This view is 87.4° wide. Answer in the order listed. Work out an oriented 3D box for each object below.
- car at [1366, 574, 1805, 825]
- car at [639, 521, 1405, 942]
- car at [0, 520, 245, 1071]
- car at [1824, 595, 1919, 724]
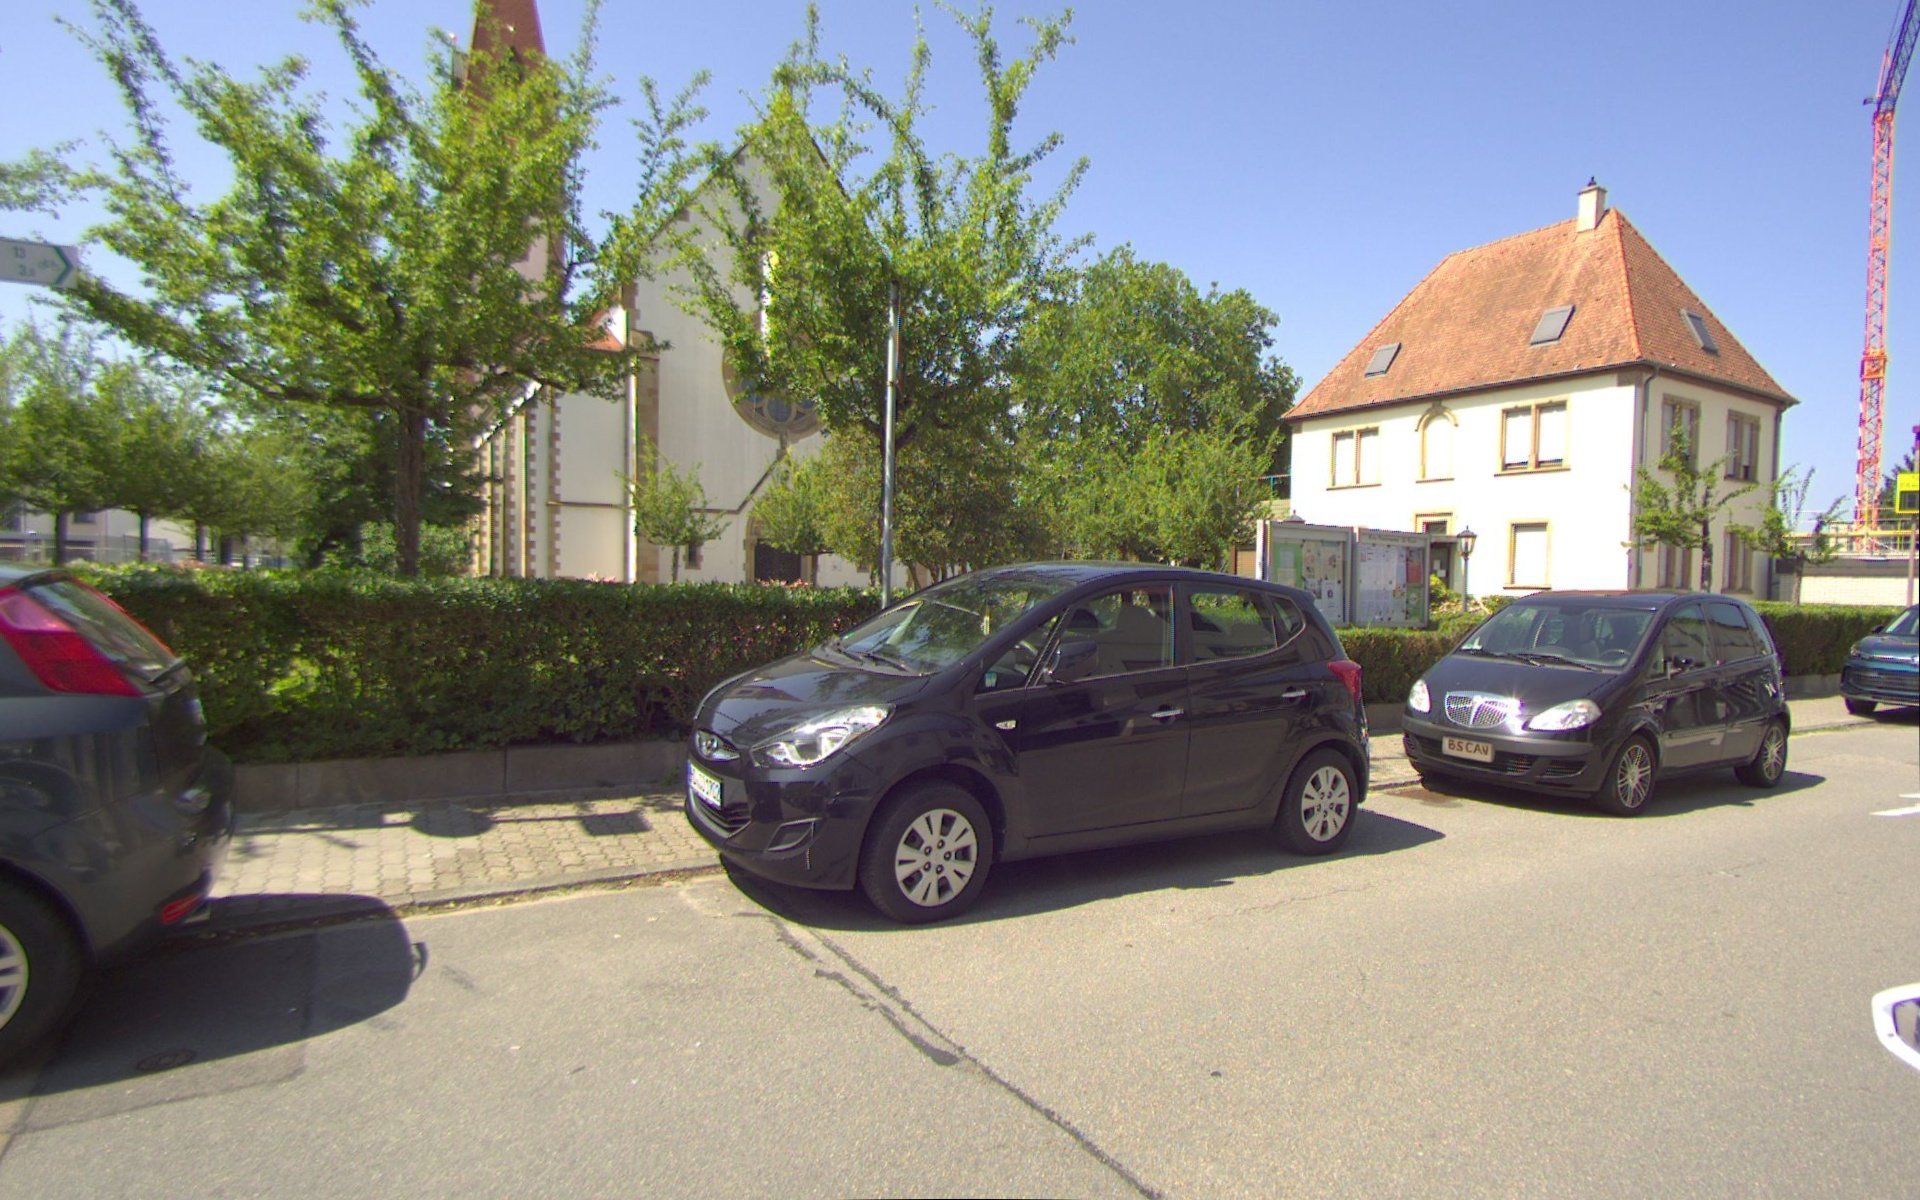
[{"bbox_3d":[5.264,0.657,8.348,3.727,1.651,1.628,0,2,-33],"label":"car"},{"bbox_3d":[0.433,0.508,5.671,3.977,1.626,1.806,1,1,-31],"label":"car"},{"bbox_3d":[-4.245,0.497,2.633,3.819,1.517,1.691,1,1,-35],"label":"car"},{"bbox_3d":[14.232,0.810,14.287,4.171,1.652,1.815,1,1,-33],"label":"car"}]
